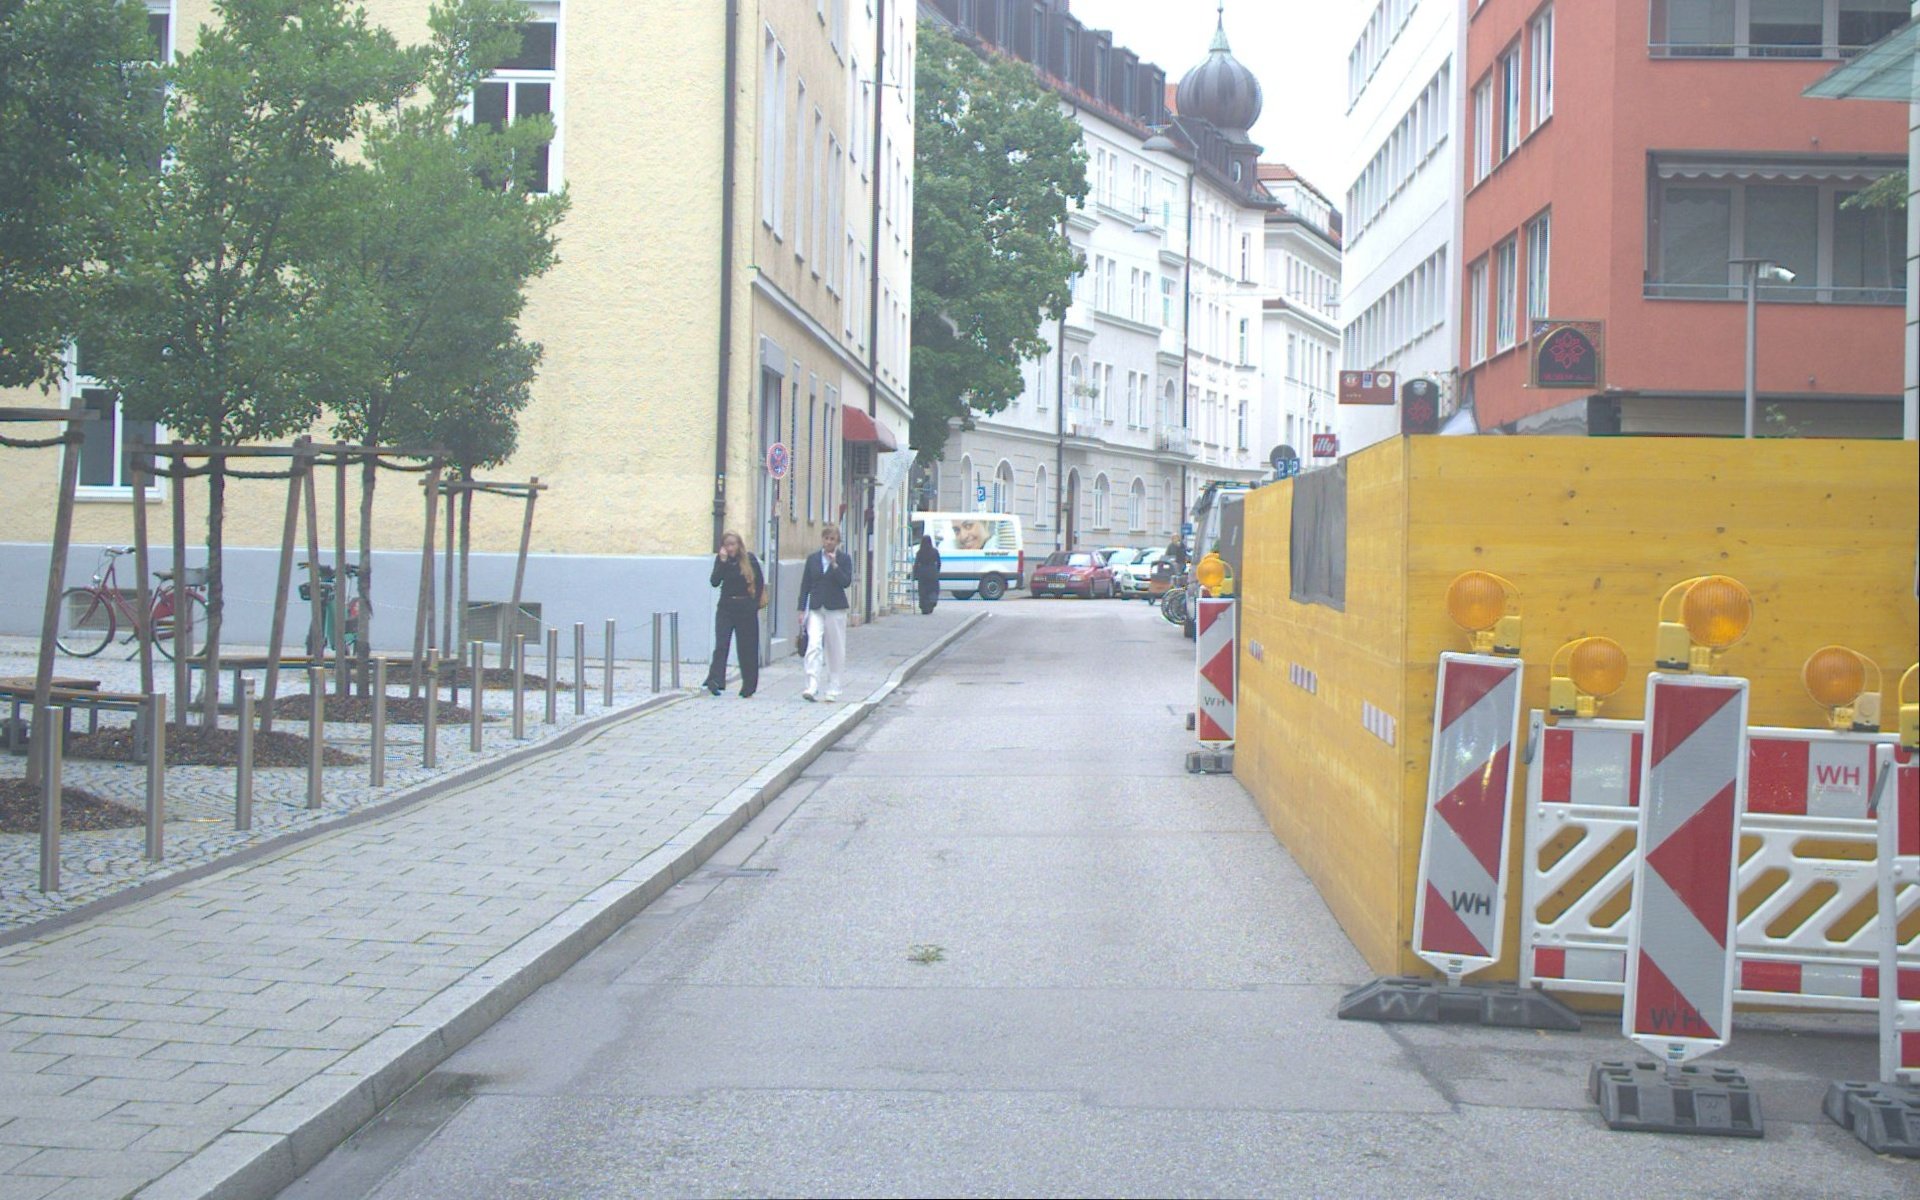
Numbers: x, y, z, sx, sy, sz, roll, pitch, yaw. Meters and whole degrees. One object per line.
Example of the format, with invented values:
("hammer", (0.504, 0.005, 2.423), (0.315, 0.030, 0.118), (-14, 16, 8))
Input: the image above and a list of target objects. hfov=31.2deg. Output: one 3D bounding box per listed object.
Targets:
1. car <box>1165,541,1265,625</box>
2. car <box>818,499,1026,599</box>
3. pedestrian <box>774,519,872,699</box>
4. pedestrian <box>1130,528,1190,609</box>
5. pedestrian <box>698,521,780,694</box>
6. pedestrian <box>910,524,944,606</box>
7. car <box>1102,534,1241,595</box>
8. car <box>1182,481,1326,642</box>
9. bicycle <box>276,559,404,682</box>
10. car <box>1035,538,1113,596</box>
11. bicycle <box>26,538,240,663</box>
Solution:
("car", (5.283, -0.380, 71.688), (1.788, 1.620, 4.273), (2, 1, 1))
("car", (-0.989, -1.325, 89.646), (4.976, 2.390, 2.000), (2, 1, -26))
("pedestrian", (-1.323, 0.078, 33.331), (0.839, 1.695, 0.803), (2, 0, 1))
("pedestrian", (5.093, -0.801, 87.415), (1.134, 2.007, 1.408), (3, 1, 18))
("pedestrian", (-2.144, 0.069, 33.380), (0.670, 1.642, 0.761), (2, 0, 1))
("pedestrian", (-0.683, -0.719, 70.987), (0.634, 1.669, 0.517), (2, 1, 2))
("car", (5.925, -0.978, 96.208), (1.695, 1.568, 3.990), (3, 1, 43))
("car", (4.910, -0.670, 57.978), (1.993, 2.528, 4.975), (2, 1, 1))
("bicycle", (-6.035, 0.185, 33.551), (0.510, 1.141, 2.051), (3, 1, 10))
("car", (3.268, -0.951, 98.059), (1.692, 1.568, 3.999), (2, 1, 9))
("bicycle", (-8.502, 0.001, 35.370), (2.044, 1.193, 0.570), (2, 1, 9))
